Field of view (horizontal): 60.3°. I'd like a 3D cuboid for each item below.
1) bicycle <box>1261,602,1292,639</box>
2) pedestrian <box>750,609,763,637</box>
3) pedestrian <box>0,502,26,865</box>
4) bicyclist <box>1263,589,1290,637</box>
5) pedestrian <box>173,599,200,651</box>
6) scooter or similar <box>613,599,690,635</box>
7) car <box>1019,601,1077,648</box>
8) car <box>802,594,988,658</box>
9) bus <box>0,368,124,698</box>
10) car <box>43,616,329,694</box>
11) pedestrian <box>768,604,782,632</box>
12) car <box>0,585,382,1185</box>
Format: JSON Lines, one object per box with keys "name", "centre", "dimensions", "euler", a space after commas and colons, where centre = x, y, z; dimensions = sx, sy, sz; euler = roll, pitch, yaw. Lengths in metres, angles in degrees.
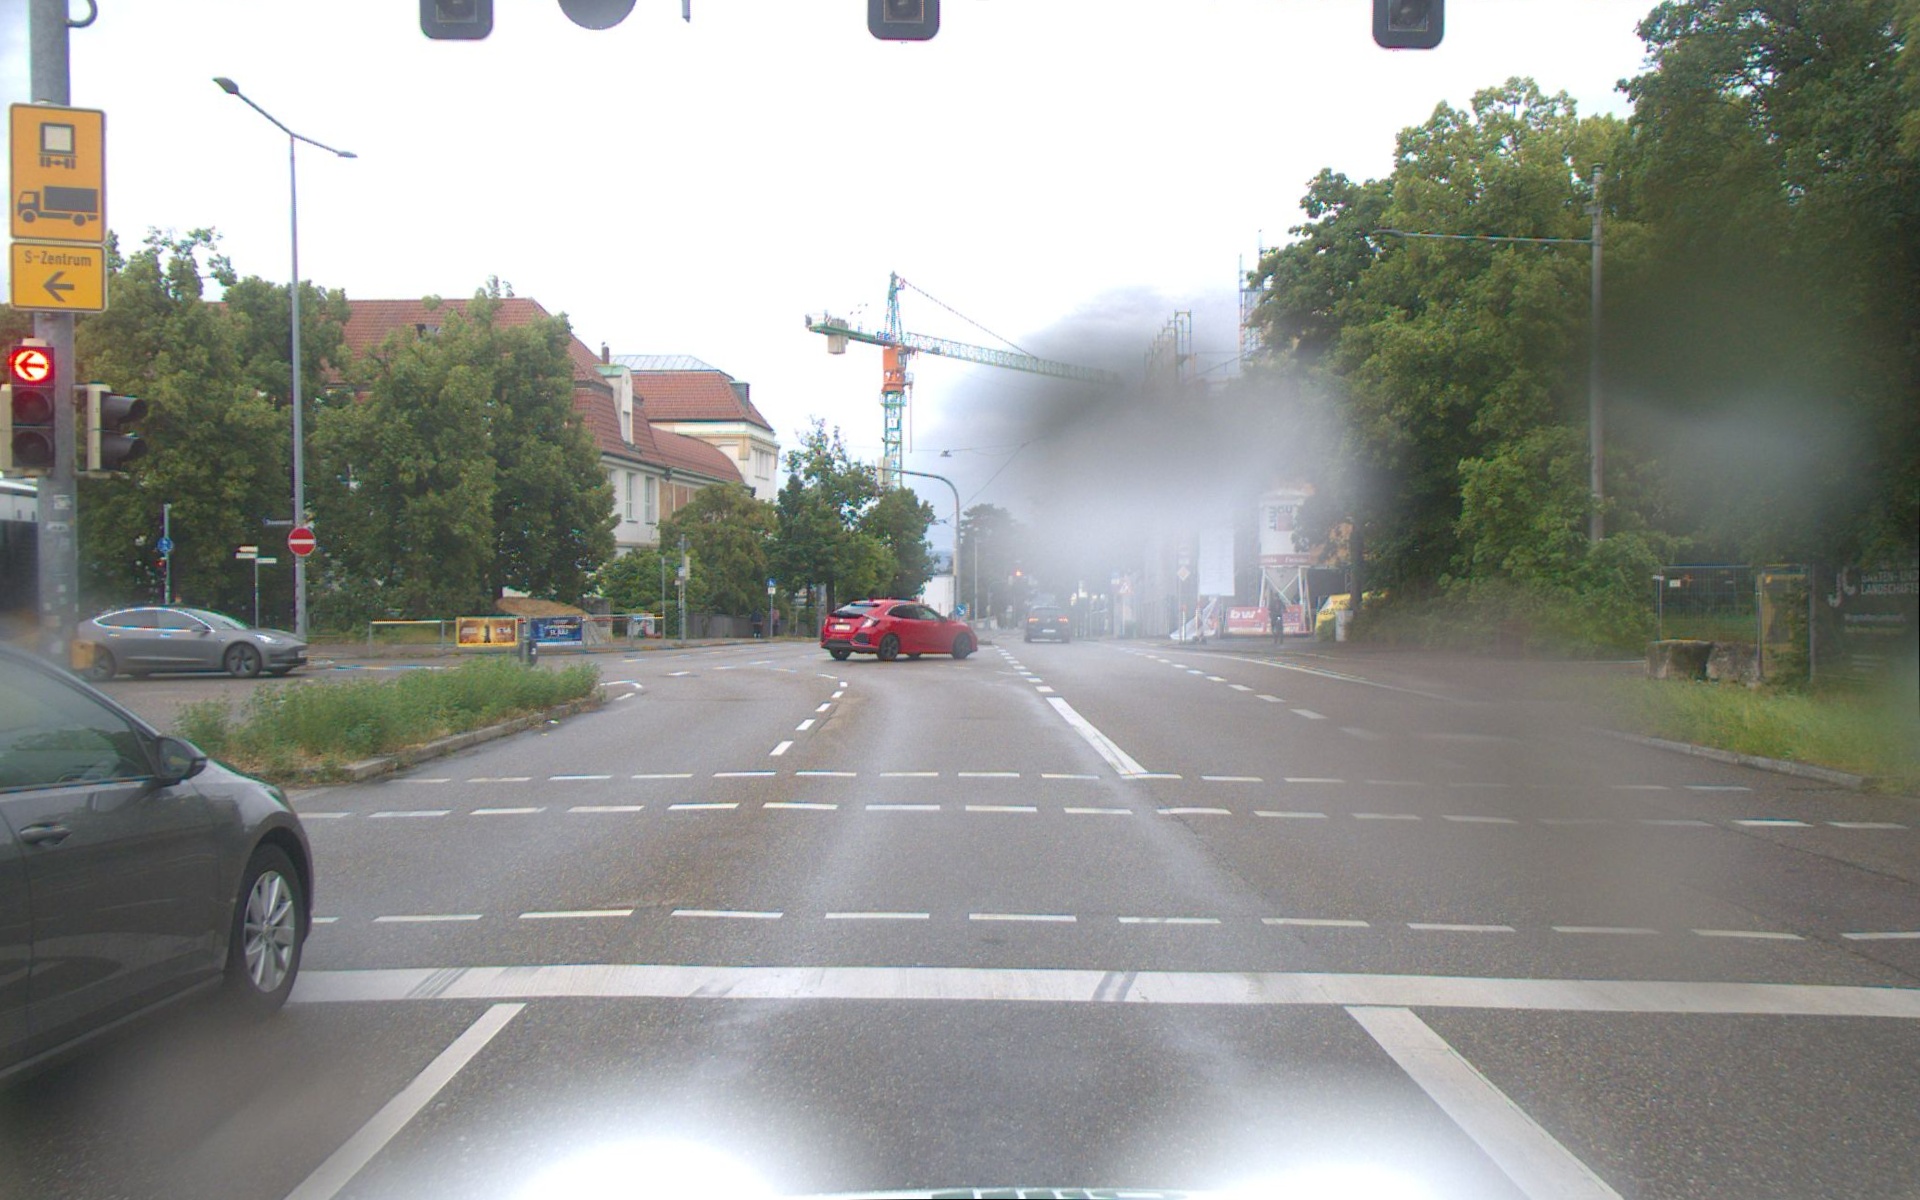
{"name": "bicycle", "centre": [10.751, 0.716, 56.217], "dimensions": [0.705, 1.214, 1.756], "euler": [1, -2, 1]}
{"name": "pedestrian", "centre": [-10.570, 1.190, 85.766], "dimensions": [0.575, 1.454, 0.467], "euler": [1, -2, 0]}
{"name": "pedestrian", "centre": [-5.915, 0.492, 9.128], "dimensions": [0.920, 2.049, 0.847], "euler": [-3, 0, 5]}
{"name": "bicyclist", "centre": [10.757, 0.440, 56.189], "dimensions": [0.705, 1.591, 1.143], "euler": [1, -2, 1]}
{"name": "pedestrian", "centre": [-22.692, 0.719, 48.538], "dimensions": [0.608, 1.516, 0.768], "euler": [0, 0, -16]}
{"name": "scooter or similar", "centre": [-12.843, 0.697, 68.994], "dimensions": [3.026, 1.465, 0.948], "euler": [-1, 0, -3]}
{"name": "car", "centre": [3.425, 0.986, 64.877], "dimensions": [1.953, 1.736, 3.998], "euler": [2, -2, -1]}
{"name": "car", "centre": [-1.515, 0.594, 40.109], "dimensions": [1.965, 1.450, 4.491], "euler": [0, 0, 42]}
{"name": "bus", "centre": [-11.062, -0.670, 15.557], "dimensions": [2.832, 3.365, 8.564], "euler": [0, 0, -6]}
{"name": "car", "centre": [-15.193, 1.062, 32.672], "dimensions": [4.675, 1.450, 1.999], "euler": [0, 0, -4]}
{"name": "pedestrian", "centre": [-9.659, 0.942, 86.364], "dimensions": [0.624, 1.410, 0.606], "euler": [1, -2, -2]}
{"name": "car", "centre": [-3.228, 0.722, 4.474], "dimensions": [1.768, 1.454, 4.197], "euler": [-2, 0, 1]}
